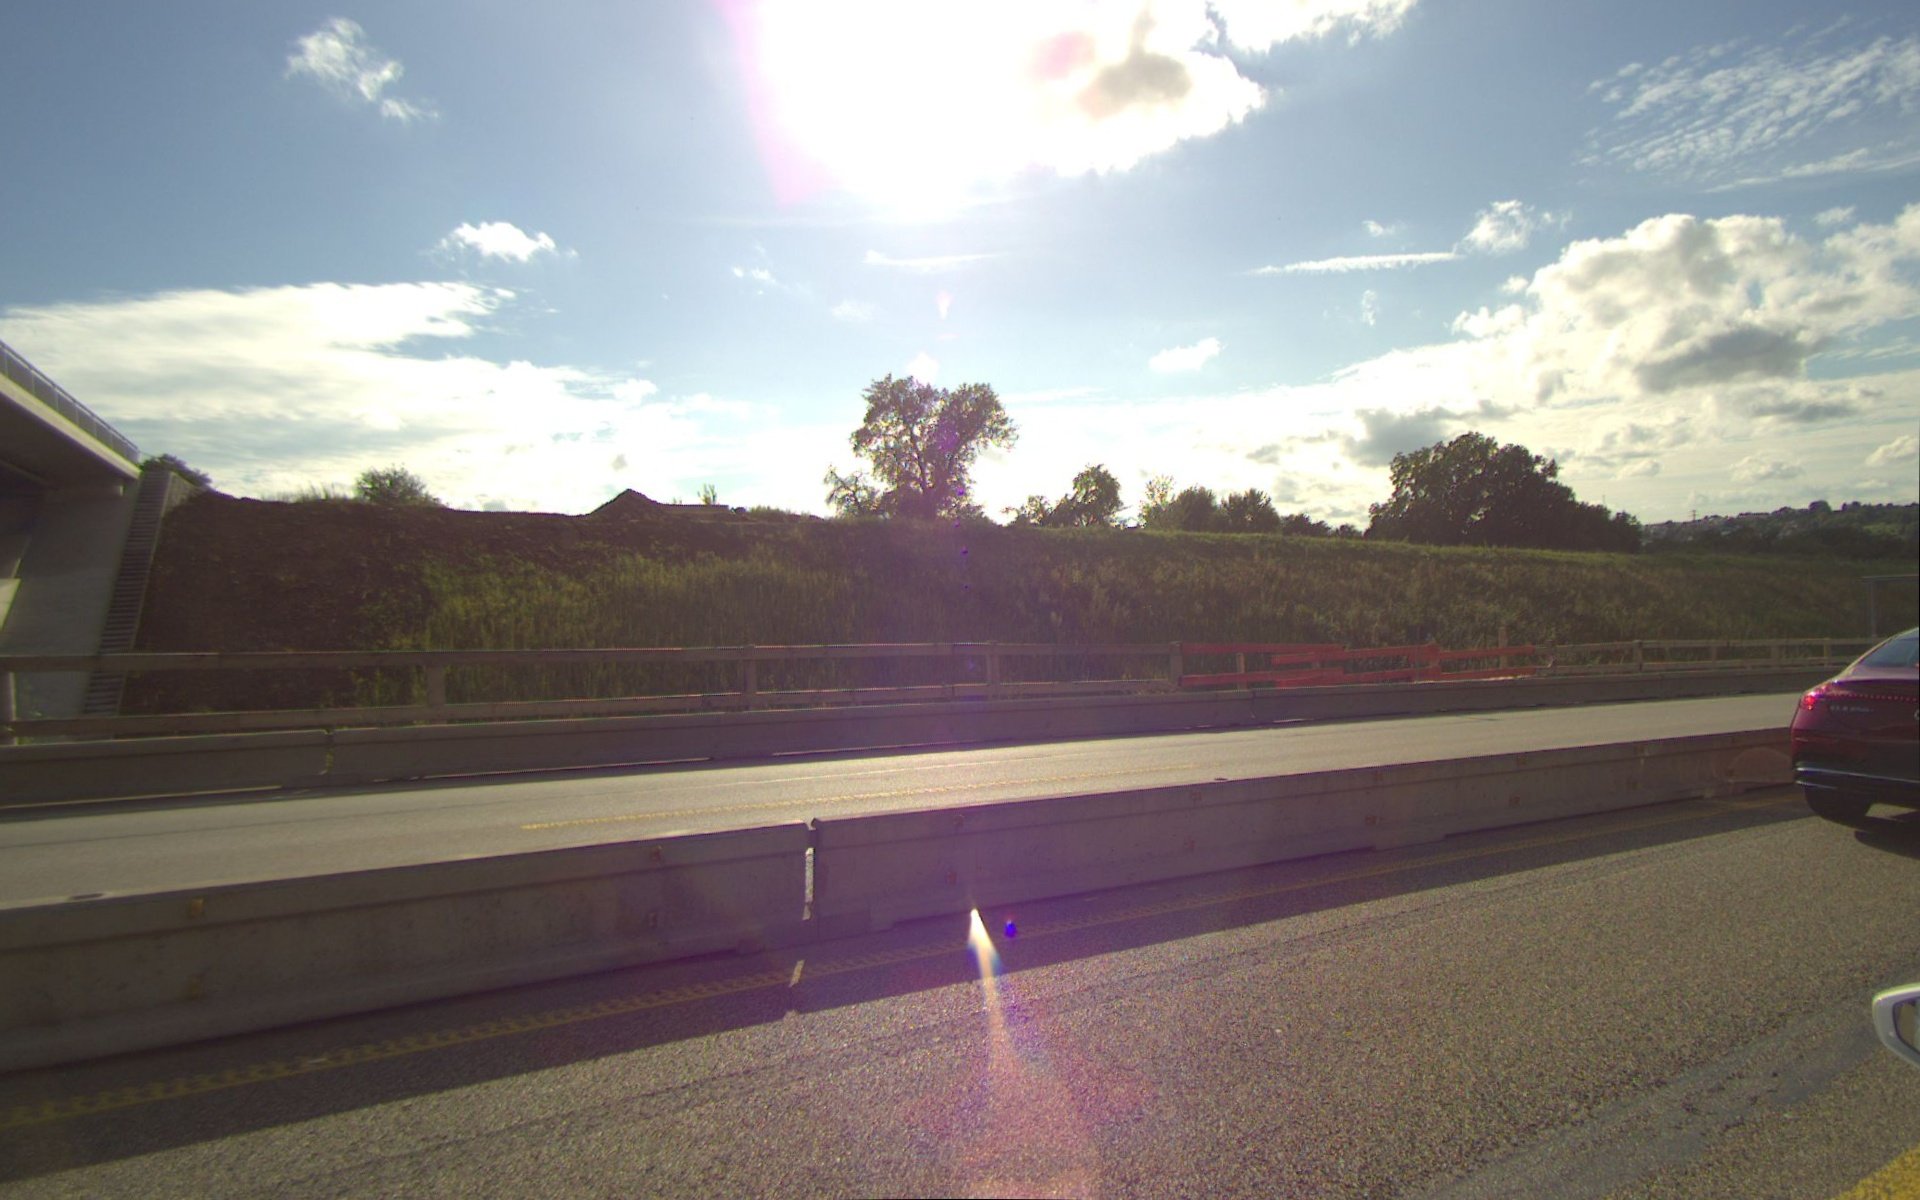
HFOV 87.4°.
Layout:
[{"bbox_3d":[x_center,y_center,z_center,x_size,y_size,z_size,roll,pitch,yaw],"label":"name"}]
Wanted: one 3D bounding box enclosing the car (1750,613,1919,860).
[{"bbox_3d":[8.002,0.883,7.401,4.628,1.512,1.814,1,1,-30],"label":"car"}]
